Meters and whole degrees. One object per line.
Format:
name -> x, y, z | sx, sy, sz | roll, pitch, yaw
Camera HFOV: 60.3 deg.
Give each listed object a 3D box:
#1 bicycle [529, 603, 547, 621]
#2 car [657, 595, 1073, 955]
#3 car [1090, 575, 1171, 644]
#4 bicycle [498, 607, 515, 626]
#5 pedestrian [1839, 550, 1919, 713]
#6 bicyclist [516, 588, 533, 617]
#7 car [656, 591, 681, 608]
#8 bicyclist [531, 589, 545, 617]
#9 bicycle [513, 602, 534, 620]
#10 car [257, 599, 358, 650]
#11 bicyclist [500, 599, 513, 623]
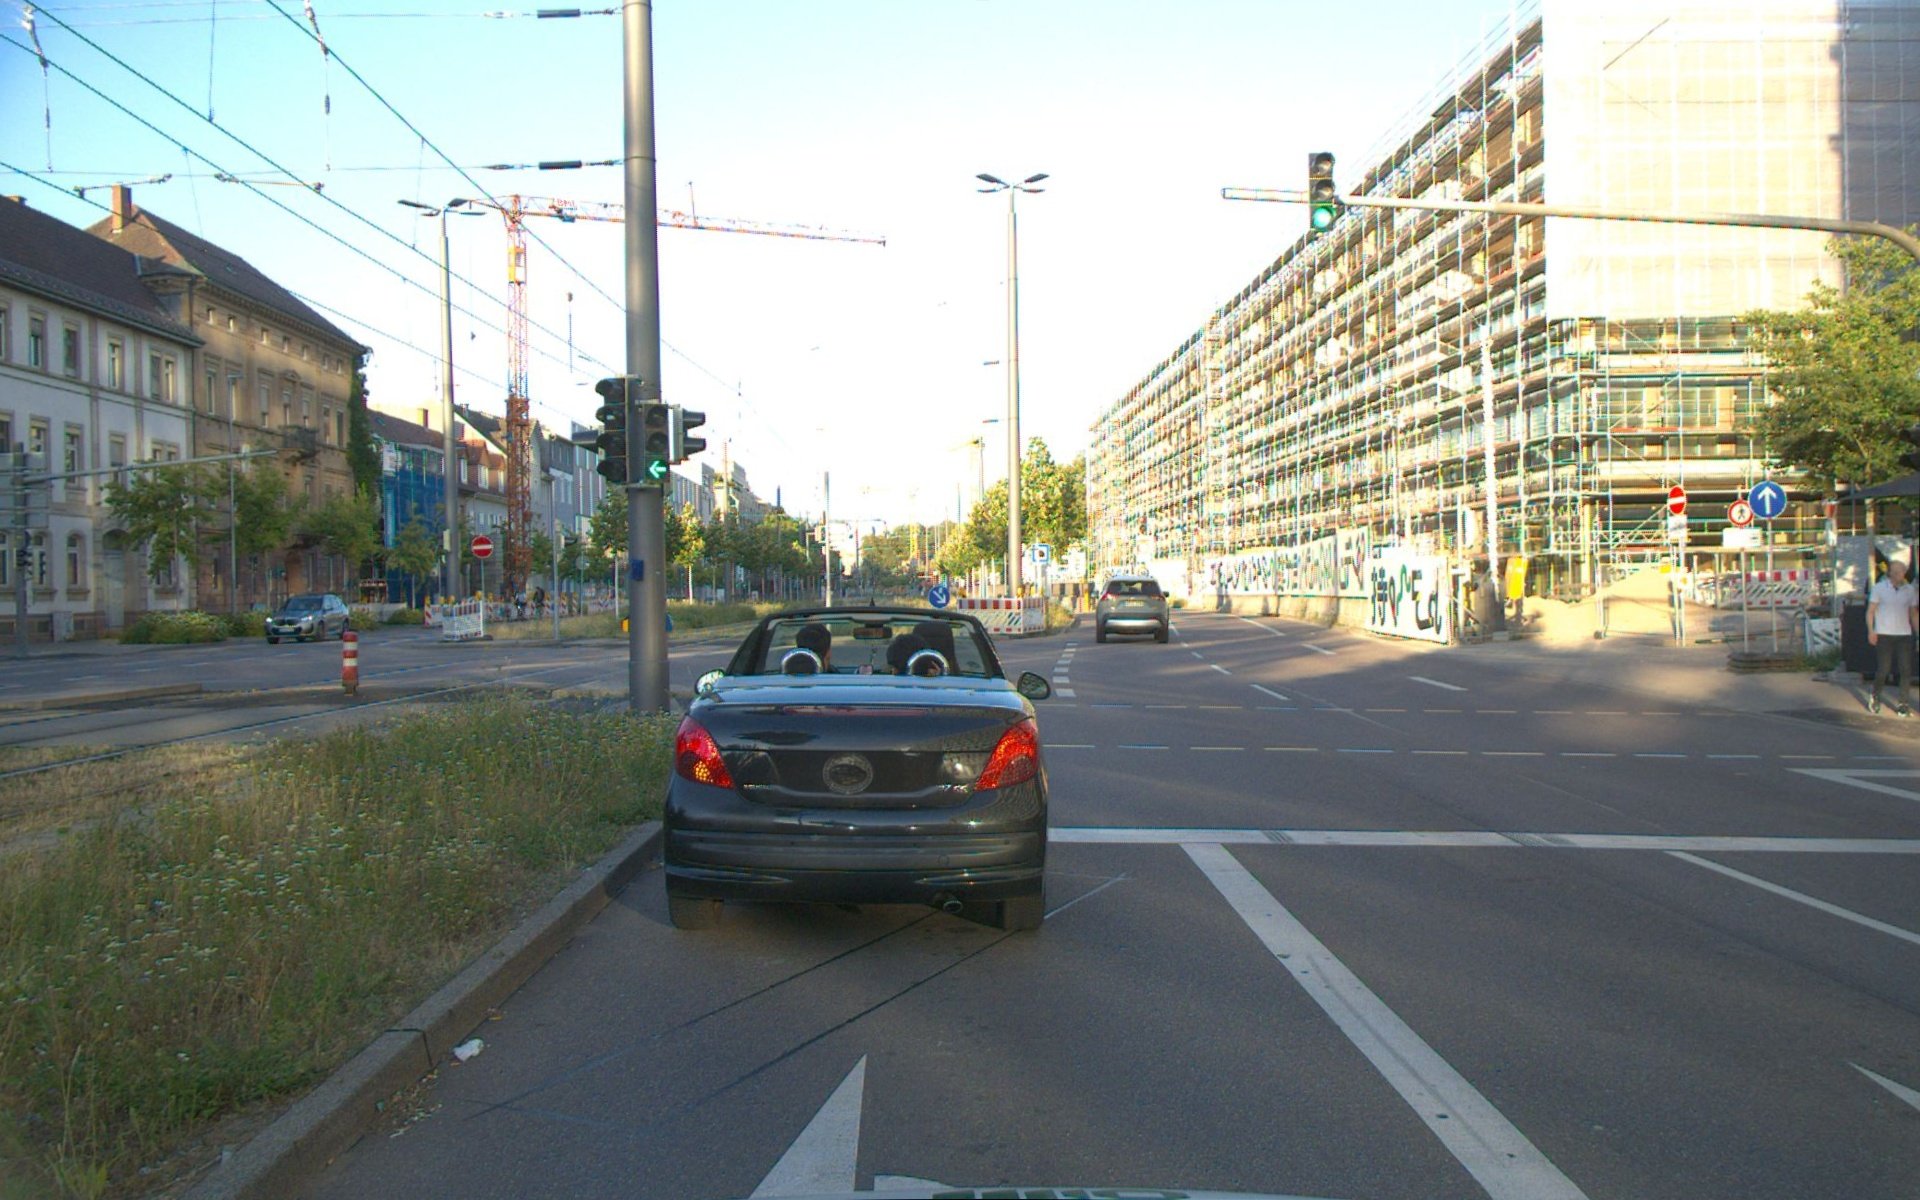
bicycle -> -24.039, 0.663, 94.227 | 0.578, 0.992, 1.556 | 1, 1, -1
car -> -0.443, 0.689, 8.553 | 1.640, 1.375, 3.999 | 0, 1, -2
car -> 4.382, 0.195, 42.955 | 1.796, 1.701, 4.284 | 0, 1, 2
bicycle -> -24.892, 0.881, 90.815 | 0.578, 1.006, 1.555 | 1, 1, -4
pedestrian -> 10.998, 0.363, 19.594 | 0.753, 1.880, 0.678 | -2, 1, -2
bicyclist -> -24.852, 0.128, 94.322 | 0.756, 1.598, 0.792 | 1, 0, -1
car -> -27.088, -0.068, 153.674 | 1.624, 1.456, 3.894 | 1, 1, 0
bicyclist -> -24.028, 0.153, 94.223 | 0.578, 1.596, 0.711 | 1, 0, -1
bicycle -> -24.863, 0.639, 94.324 | 0.756, 0.961, 1.639 | 1, 1, 0
car -> -23.101, 0.849, 58.755 | 1.953, 1.607, 4.123 | -2, 1, -1
bicyclist -> -24.886, 0.623, 90.814 | 0.578, 1.288, 0.459 | 1, 0, -4
